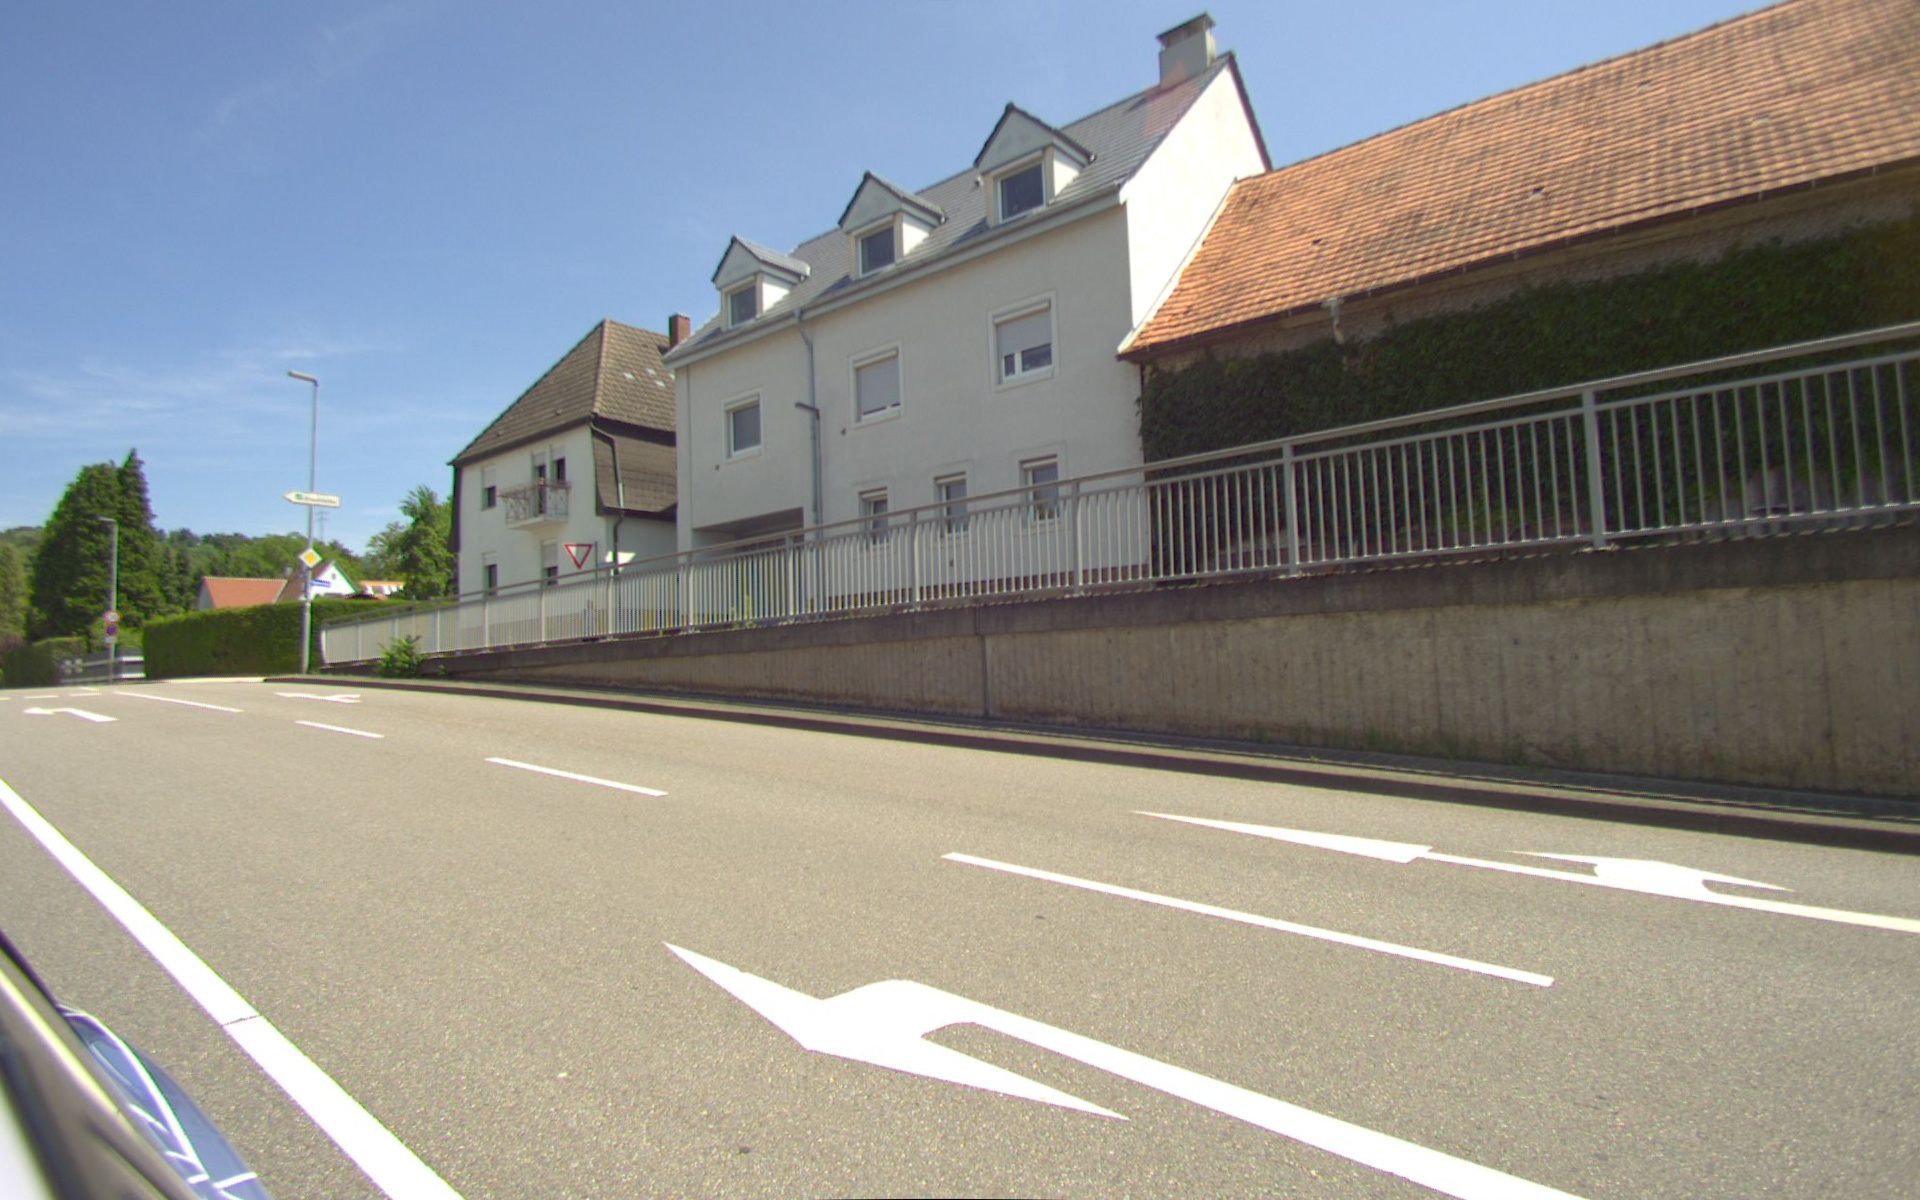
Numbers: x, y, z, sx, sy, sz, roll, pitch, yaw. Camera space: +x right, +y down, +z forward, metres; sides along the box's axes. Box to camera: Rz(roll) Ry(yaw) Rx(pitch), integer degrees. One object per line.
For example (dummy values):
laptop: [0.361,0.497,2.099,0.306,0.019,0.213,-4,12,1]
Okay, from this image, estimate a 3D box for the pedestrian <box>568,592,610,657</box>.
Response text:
pedestrian: [-10.074,0.664,27.497,0.855,1.742,0.720,-2,-2,38]
